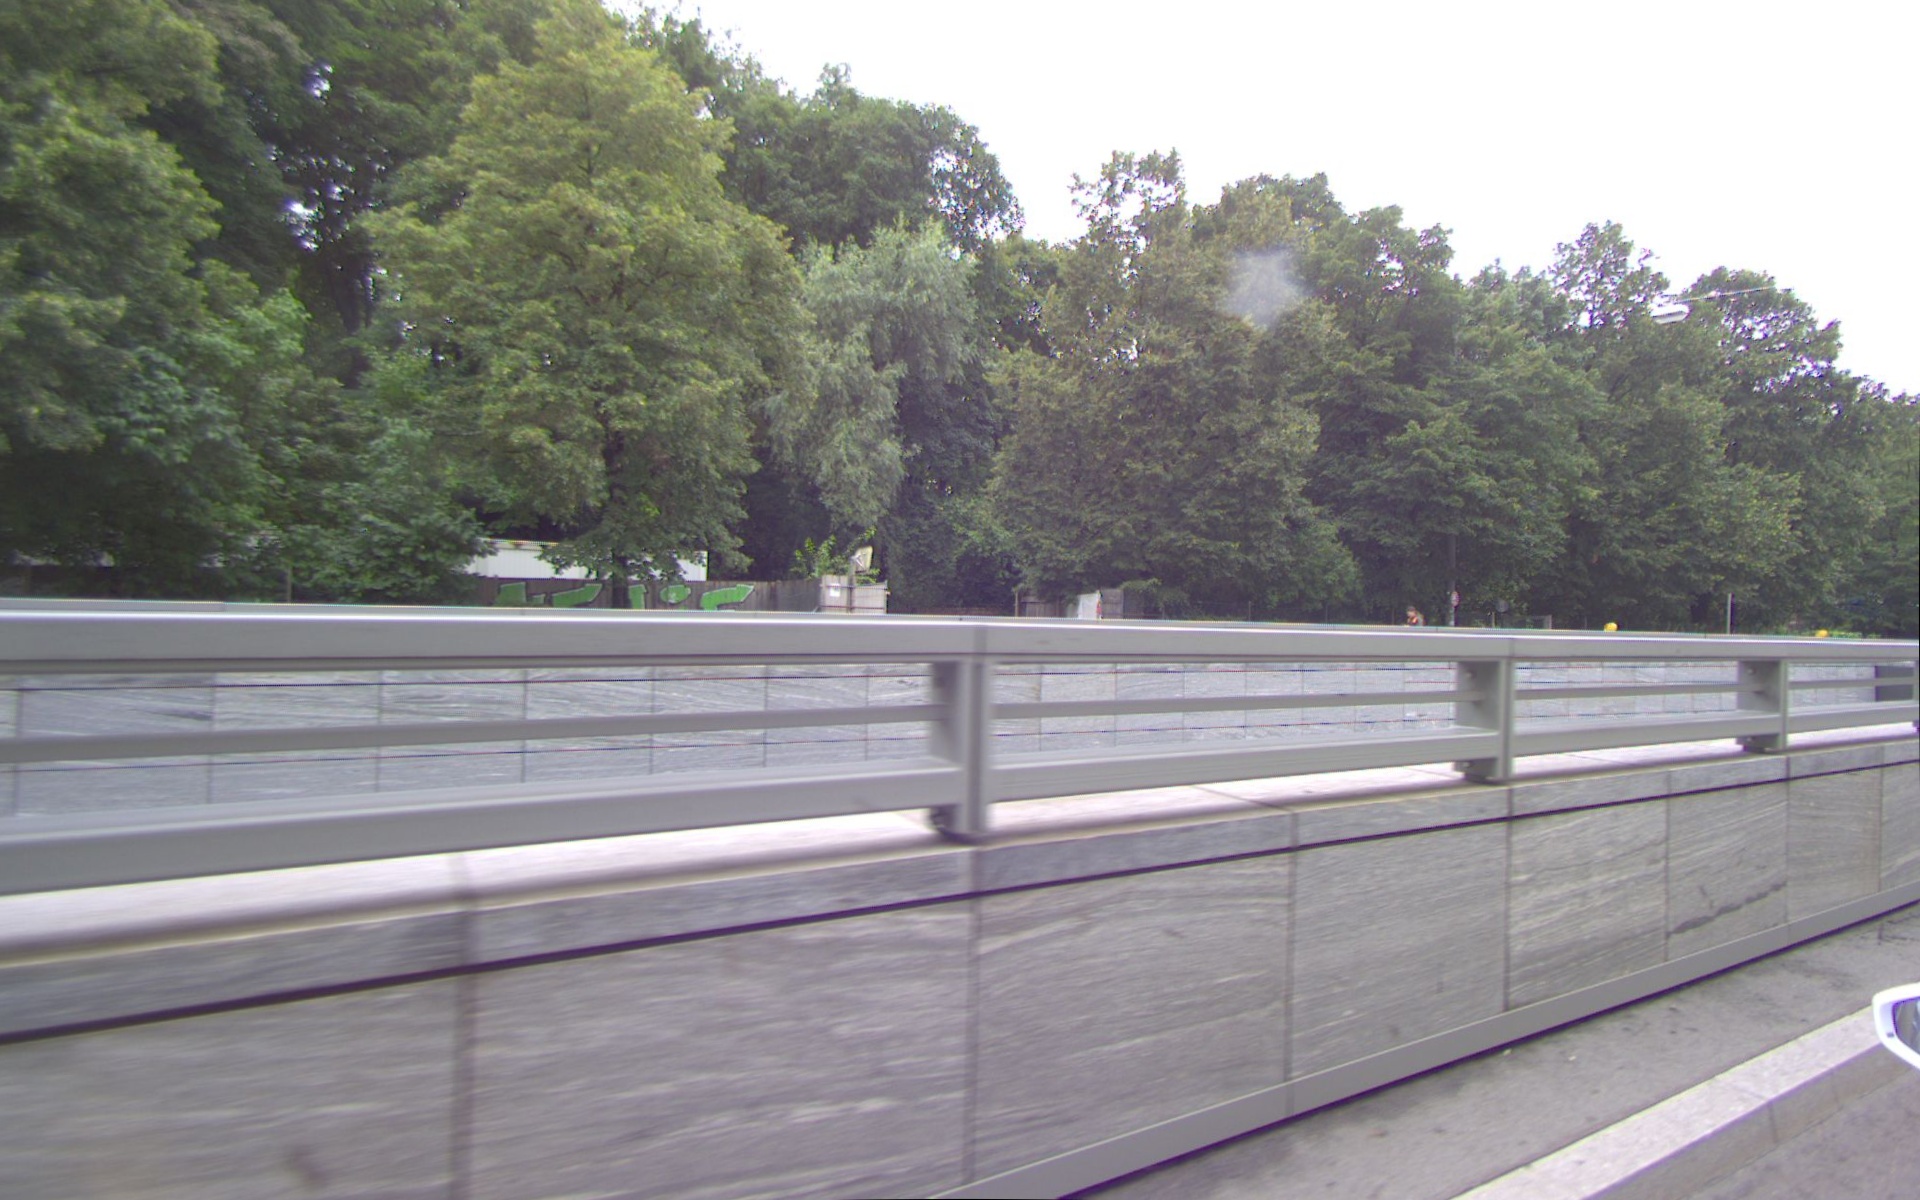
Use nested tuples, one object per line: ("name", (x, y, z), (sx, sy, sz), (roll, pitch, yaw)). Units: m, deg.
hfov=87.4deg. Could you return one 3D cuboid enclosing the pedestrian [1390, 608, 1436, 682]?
("pedestrian", (10.477, 1.039, 23.225), (0.690, 1.663, 0.660), (2, 0, -29))
